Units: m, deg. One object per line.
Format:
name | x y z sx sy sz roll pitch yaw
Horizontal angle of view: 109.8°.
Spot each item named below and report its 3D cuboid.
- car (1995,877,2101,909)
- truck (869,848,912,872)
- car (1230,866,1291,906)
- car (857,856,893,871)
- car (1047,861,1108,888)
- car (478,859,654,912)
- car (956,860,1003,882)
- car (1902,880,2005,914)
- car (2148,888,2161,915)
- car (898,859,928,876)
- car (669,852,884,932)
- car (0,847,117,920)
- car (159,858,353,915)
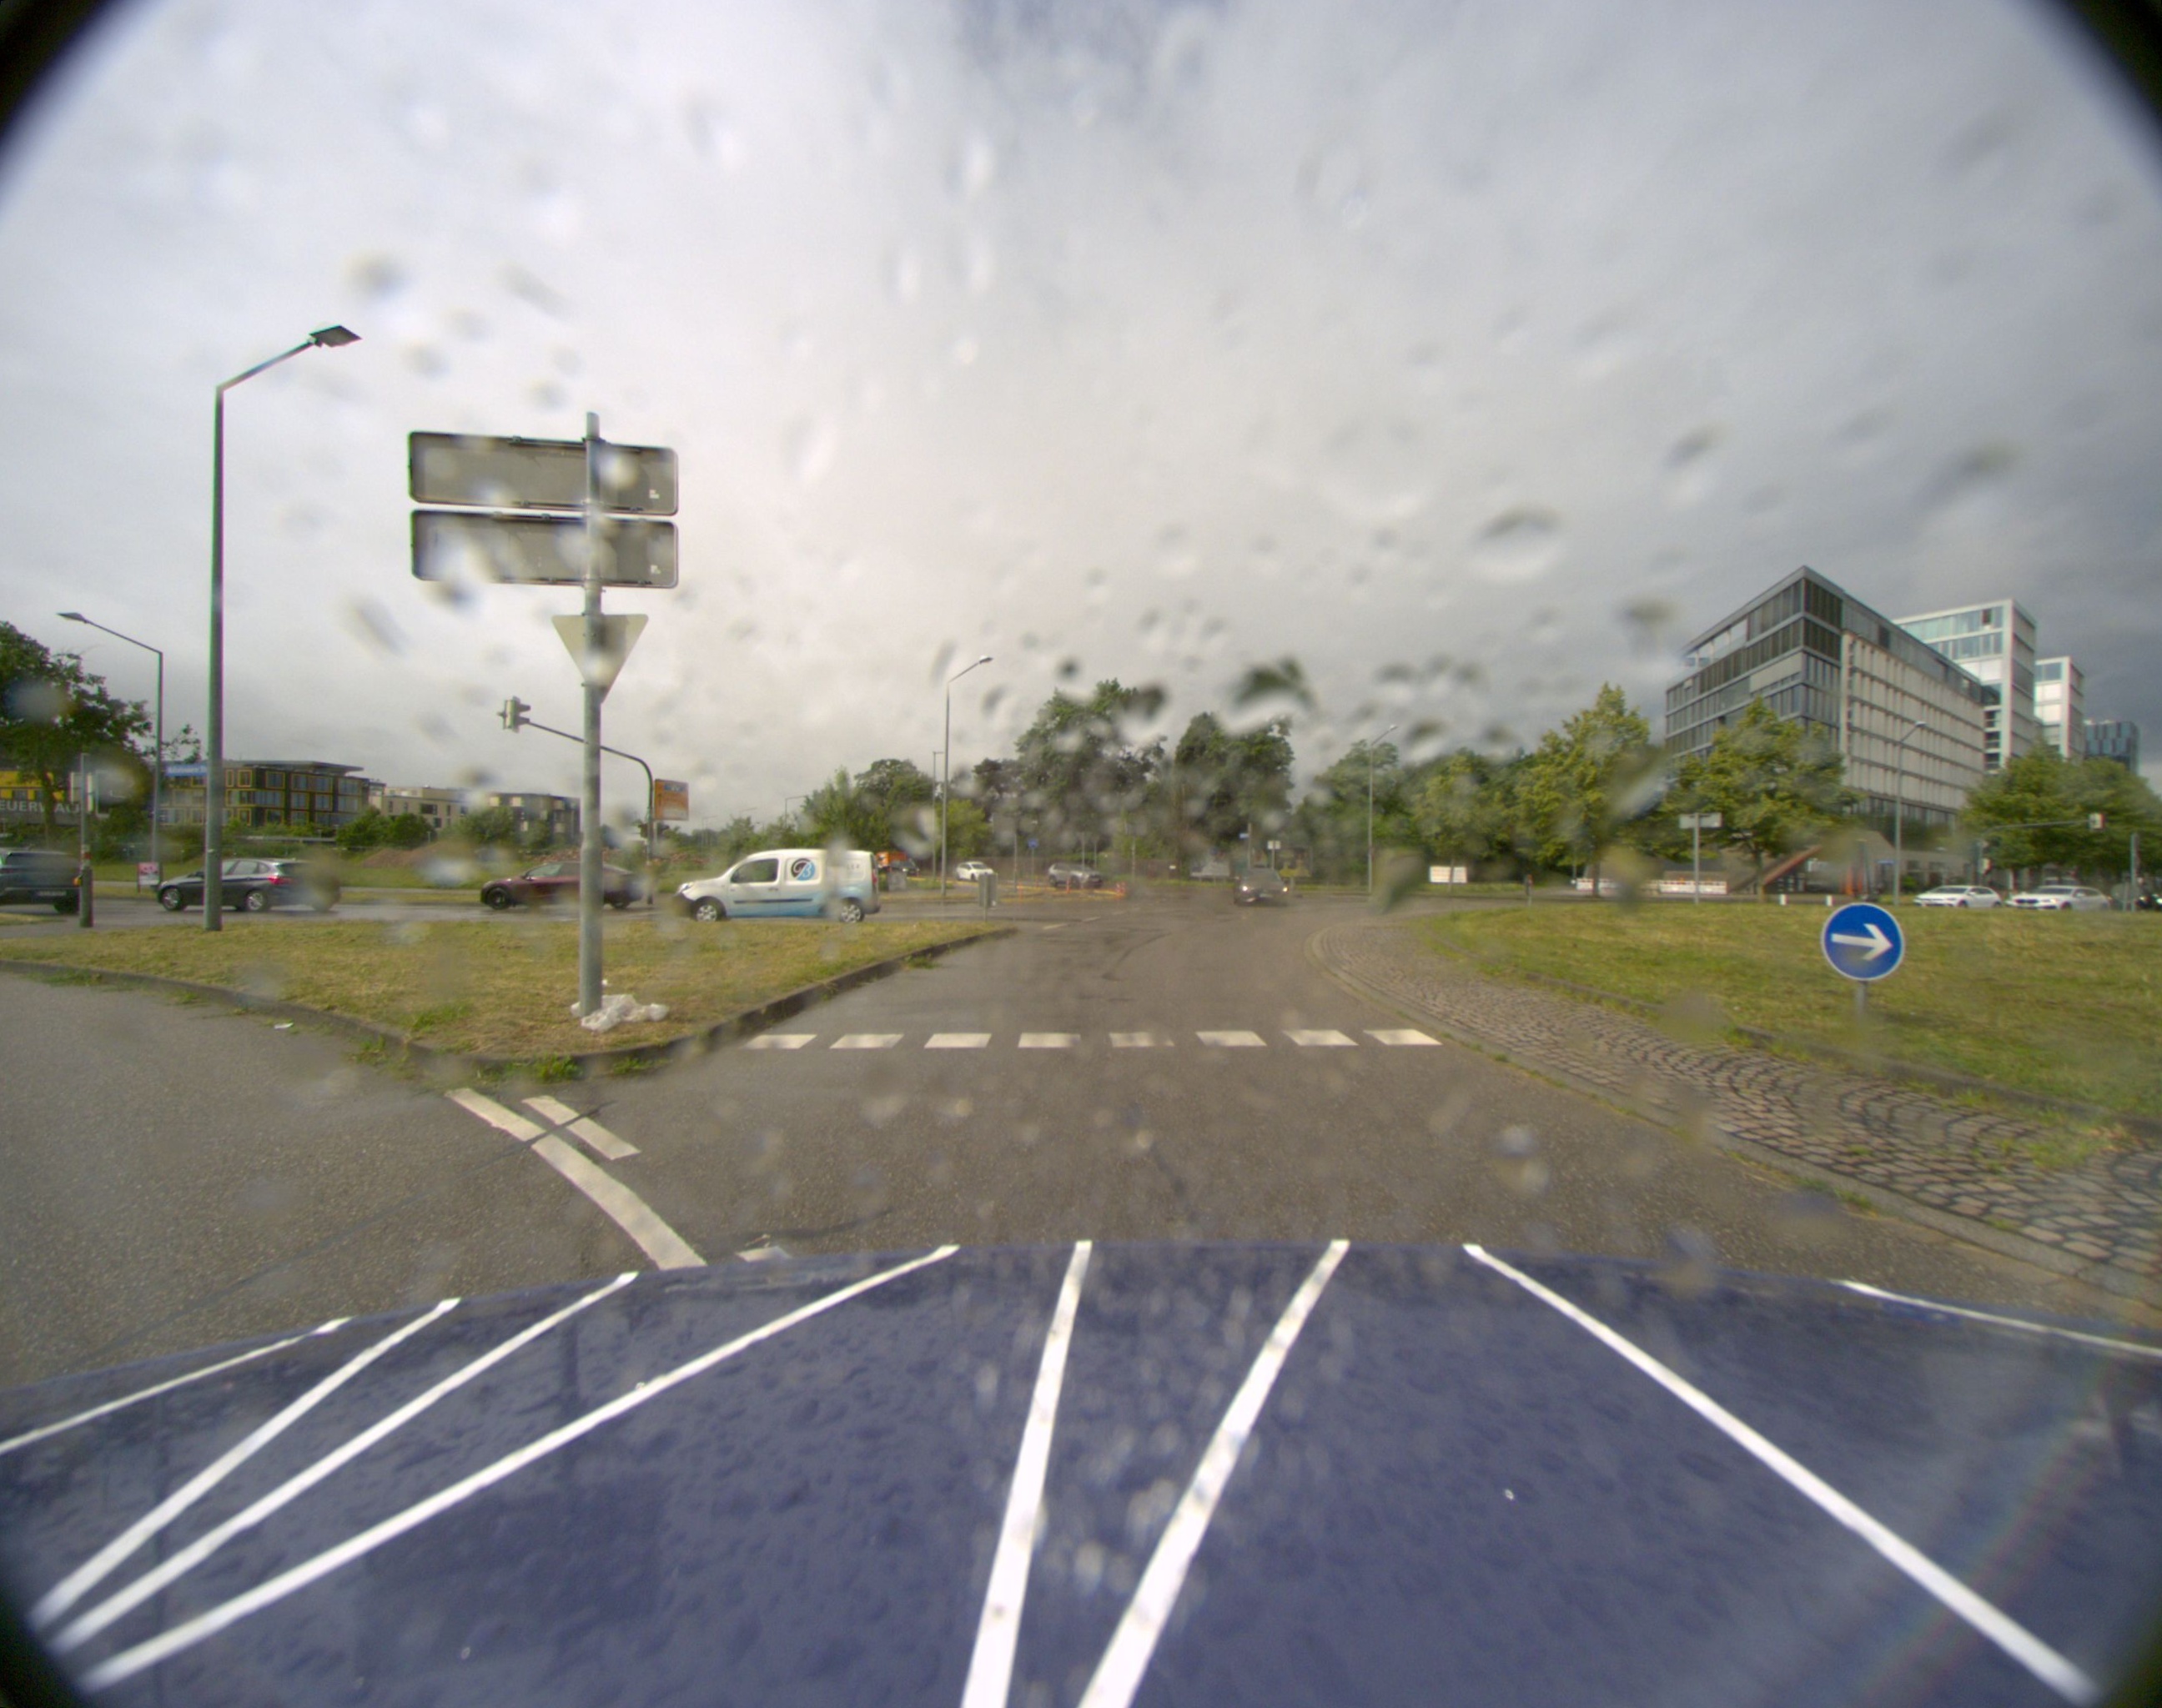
car | 47.021 1.892 36.963 3.906 1.499 1.725 1 -1 -14
truck | -22.707 0.747 90.415 2.467 2.710 6.927 1 -1 -36
car | 6.821 1.186 29.243 1.733 1.405 4.130 -1 -1 6
car | -22.627 1.052 83.445 1.880 1.653 4.470 2 -2 -43
car | -0.259 1.266 49.328 1.879 1.653 4.472 0 0 -32
car | -17.107 1.041 25.418 4.498 1.647 1.875 1 -1 -5
car | -8.218 1.342 61.225 1.879 1.653 4.471 -1 1 -36
car | 47.279 2.305 41.205 4.473 1.662 1.864 2 -1 -14
car | 65.039 2.822 44.950 3.911 1.499 1.723 1 -1 -28
car | -16.593 1.370 75.033 1.878 1.653 4.475 2 -2 -26
car | -7.104 0.863 18.195 4.555 1.752 1.865 0 -1 -17
car | -27.793 0.701 19.468 4.315 1.747 2.044 1 -1 11
car | -23.933 0.916 22.119 3.995 1.519 1.812 1 0 7
